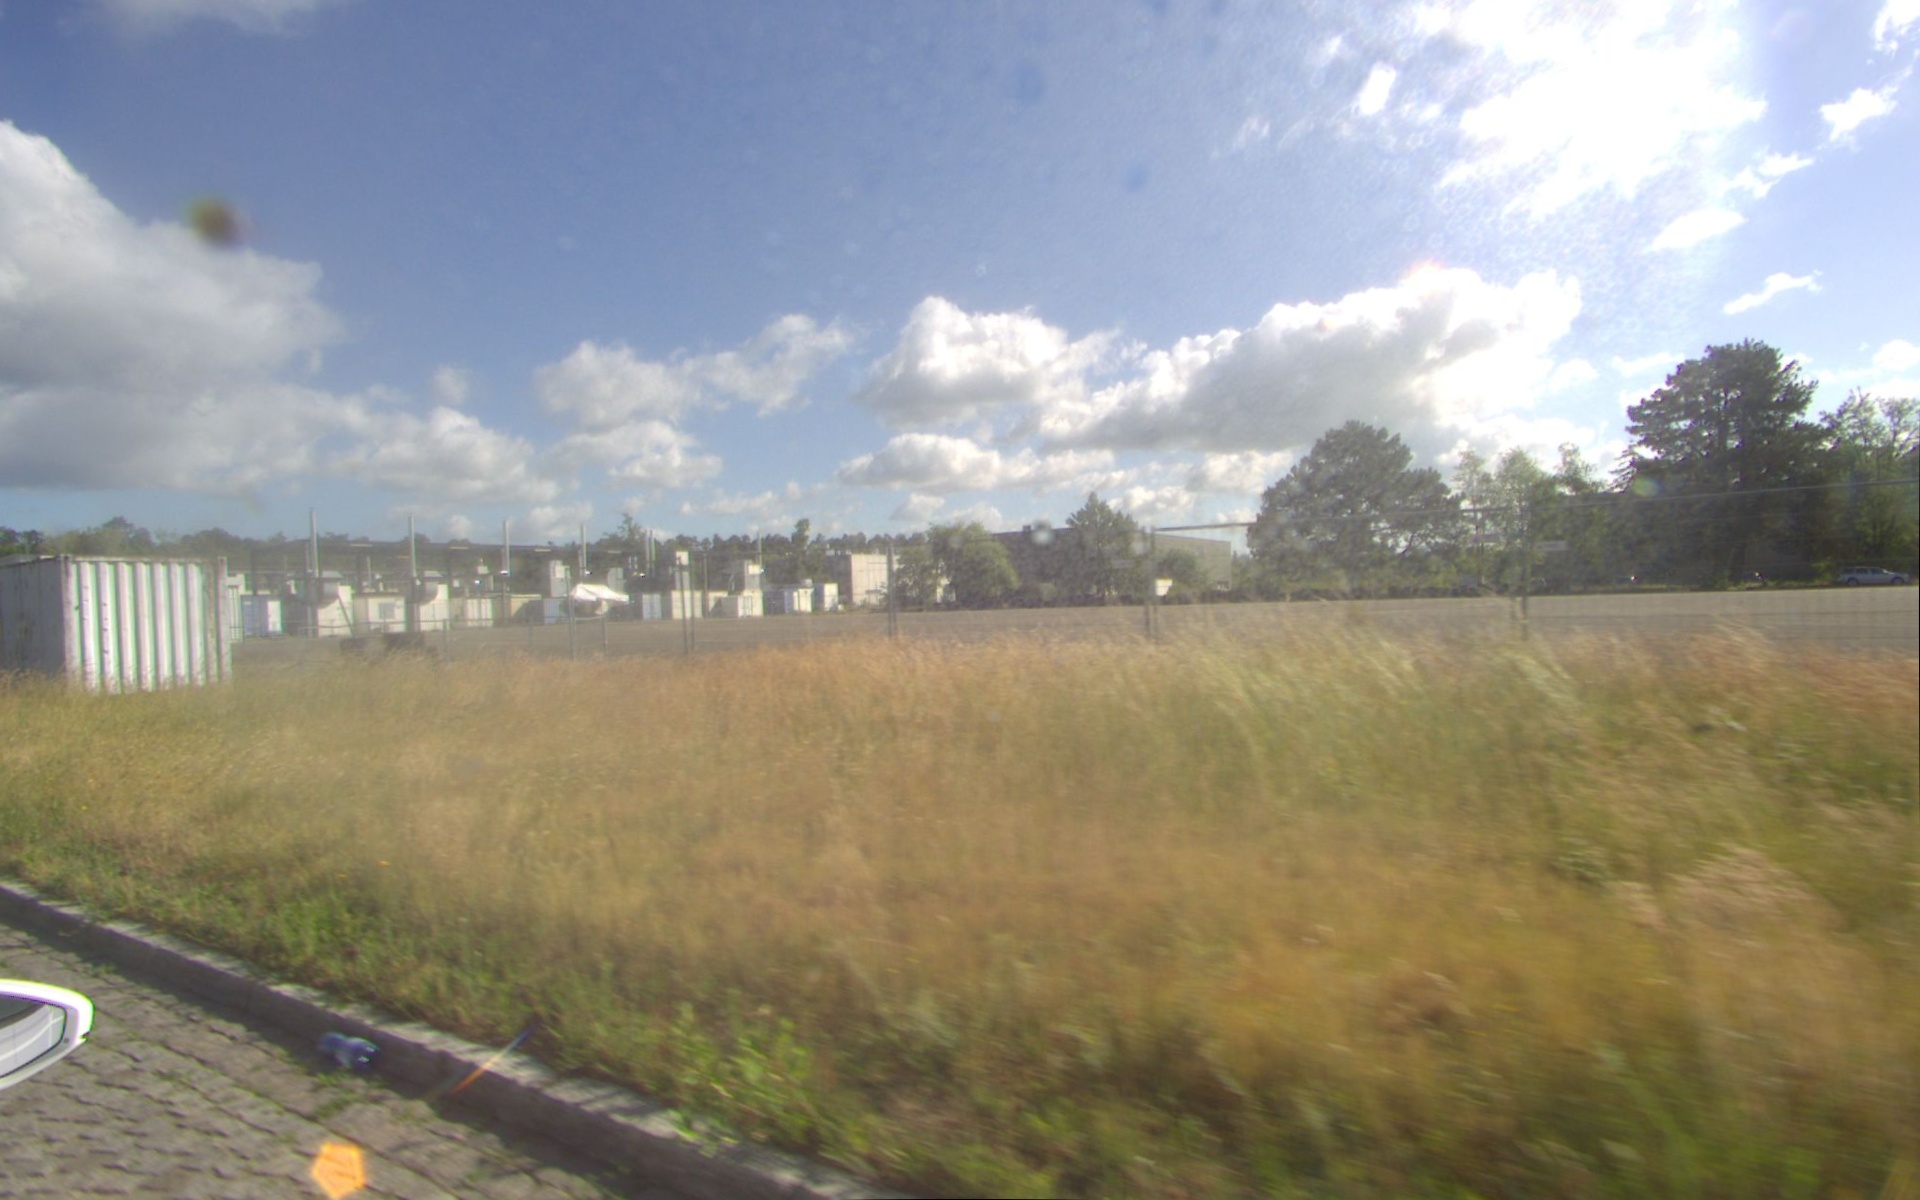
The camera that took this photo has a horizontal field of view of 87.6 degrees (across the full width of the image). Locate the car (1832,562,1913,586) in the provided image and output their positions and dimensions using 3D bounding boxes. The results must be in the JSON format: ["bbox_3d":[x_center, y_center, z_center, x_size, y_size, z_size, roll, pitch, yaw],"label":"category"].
[{"bbox_3d":[66.077,-1.870,72.580,3.938,1.603,1.991,-2,1,28],"label":"car"}]
